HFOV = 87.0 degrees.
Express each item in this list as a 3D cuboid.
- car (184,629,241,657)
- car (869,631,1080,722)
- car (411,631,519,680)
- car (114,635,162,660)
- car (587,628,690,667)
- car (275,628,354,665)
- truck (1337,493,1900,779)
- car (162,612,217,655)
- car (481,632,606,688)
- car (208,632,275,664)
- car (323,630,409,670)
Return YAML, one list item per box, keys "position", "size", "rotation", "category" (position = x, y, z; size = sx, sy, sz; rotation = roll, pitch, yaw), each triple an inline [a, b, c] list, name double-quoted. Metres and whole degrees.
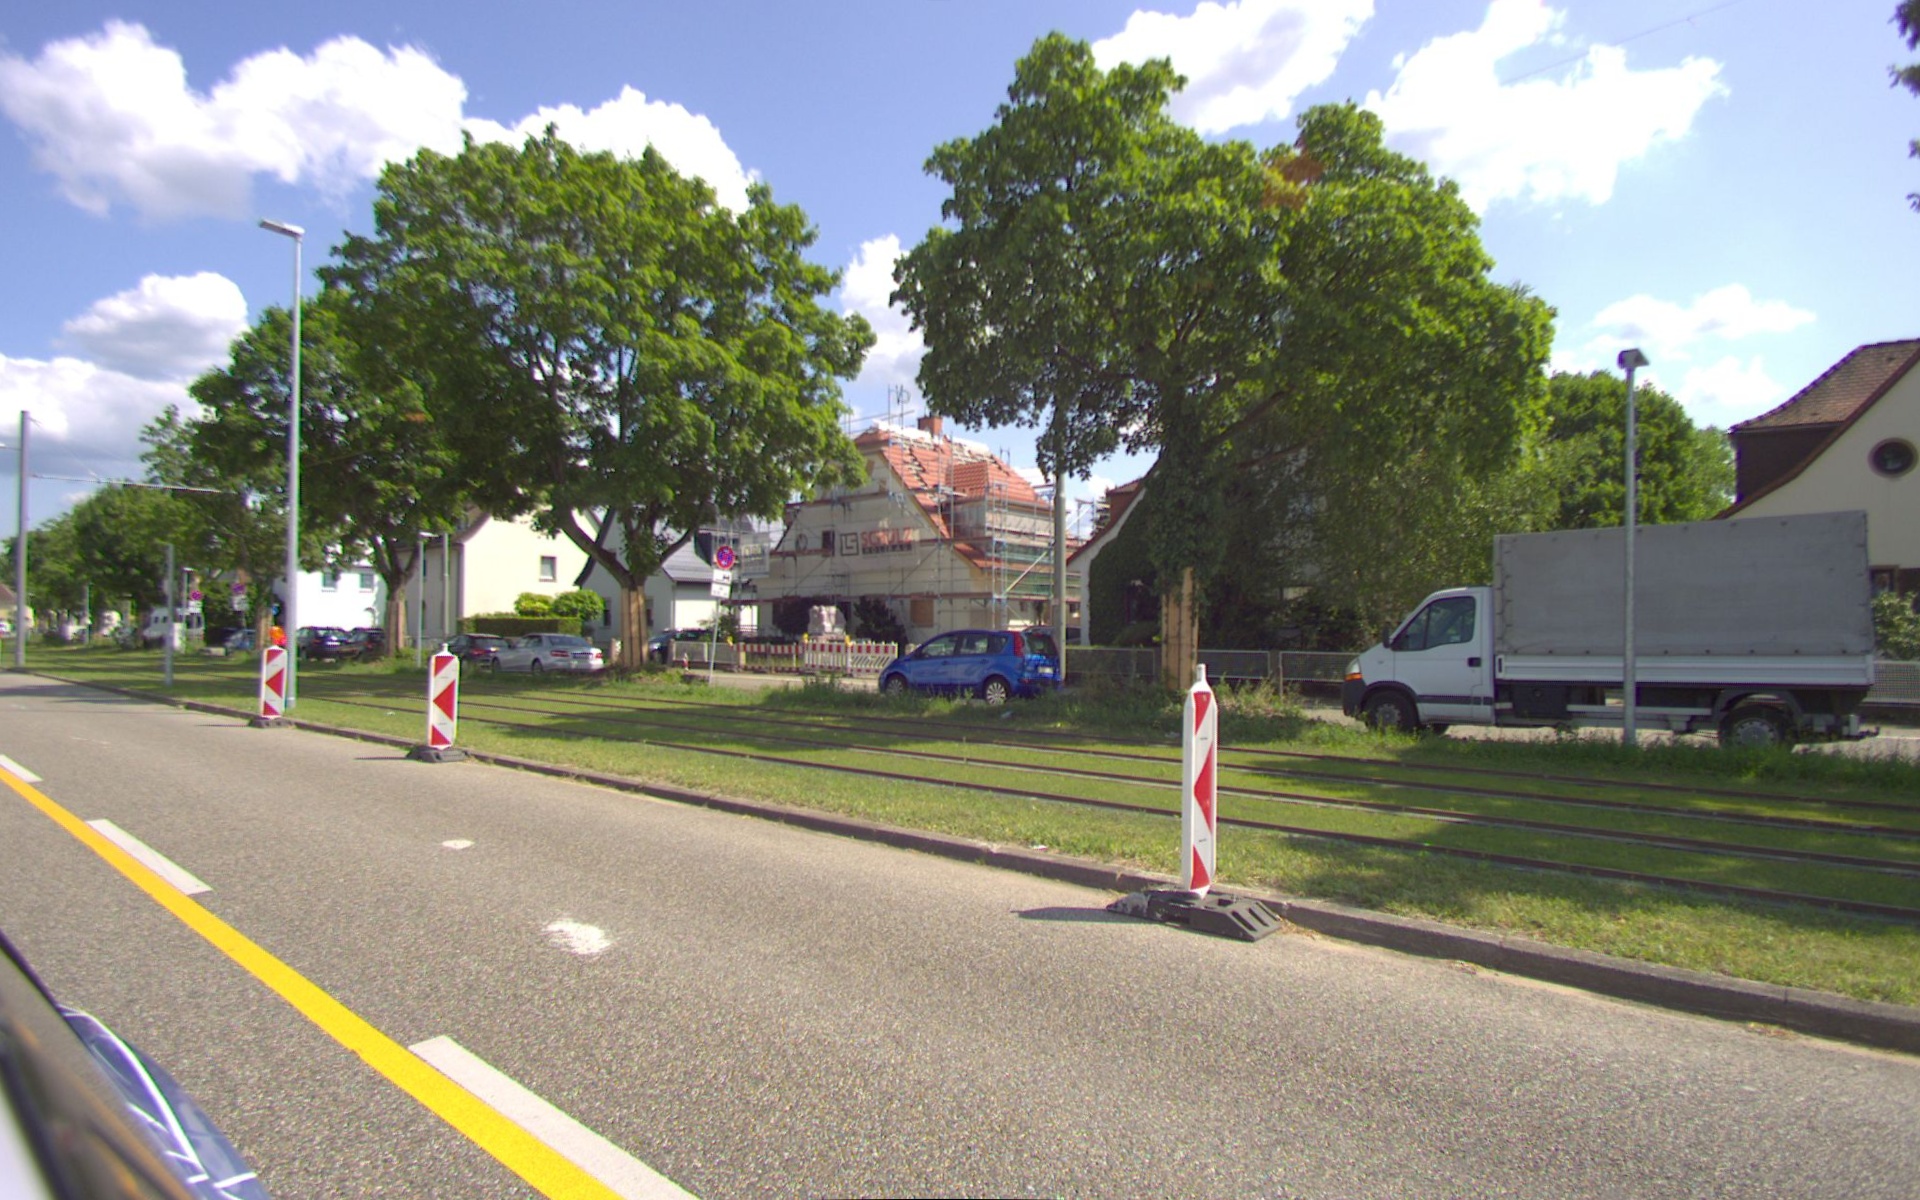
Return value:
- position: [-44.633, 2.559, 60.403]
  size: [4.603, 1.623, 1.733]
  rotation: [-2, -3, 40]
  category: "car"
- position: [0.214, 1.446, 20.172]
  size: [4.047, 1.623, 1.733]
  rotation: [-2, -3, 40]
  category: "car"
- position: [-17.602, 1.919, 35.930]
  size: [4.603, 1.623, 1.733]
  rotation: [-2, -3, 40]
  category: "car"
- position: [-57.011, 3.274, 70.149]
  size: [4.603, 1.623, 1.733]
  rotation: [-2, -3, 40]
  category: "car"
- position: [-14.071, 2.051, 44.506]
  size: [1.756, 1.623, 3.995]
  rotation: [-2, -3, 41]
  category: "car"
- position: [-29.591, 2.103, 46.330]
  size: [4.603, 1.623, 1.733]
  rotation: [-2, -3, 40]
  category: "car"
- position: [8.286, 0.468, 13.354]
  size: [5.871, 3.010, 1.982]
  rotation: [-2, -3, 41]
  category: "truck"
- position: [-48.821, 2.112, 64.096]
  size: [4.603, 2.636, 1.733]
  rotation: [-2, -3, 40]
  category: "car"
- position: [-13.161, 1.834, 31.859]
  size: [4.603, 1.623, 1.733]
  rotation: [-2, -3, 40]
  category: "car"
- position: [-37.633, 2.474, 52.978]
  size: [4.603, 1.623, 1.733]
  rotation: [-2, -3, 40]
  category: "car"
- position: [-25.171, 2.078, 42.826]
  size: [4.603, 1.623, 1.733]
  rotation: [-2, -3, 40]
  category: "car"
